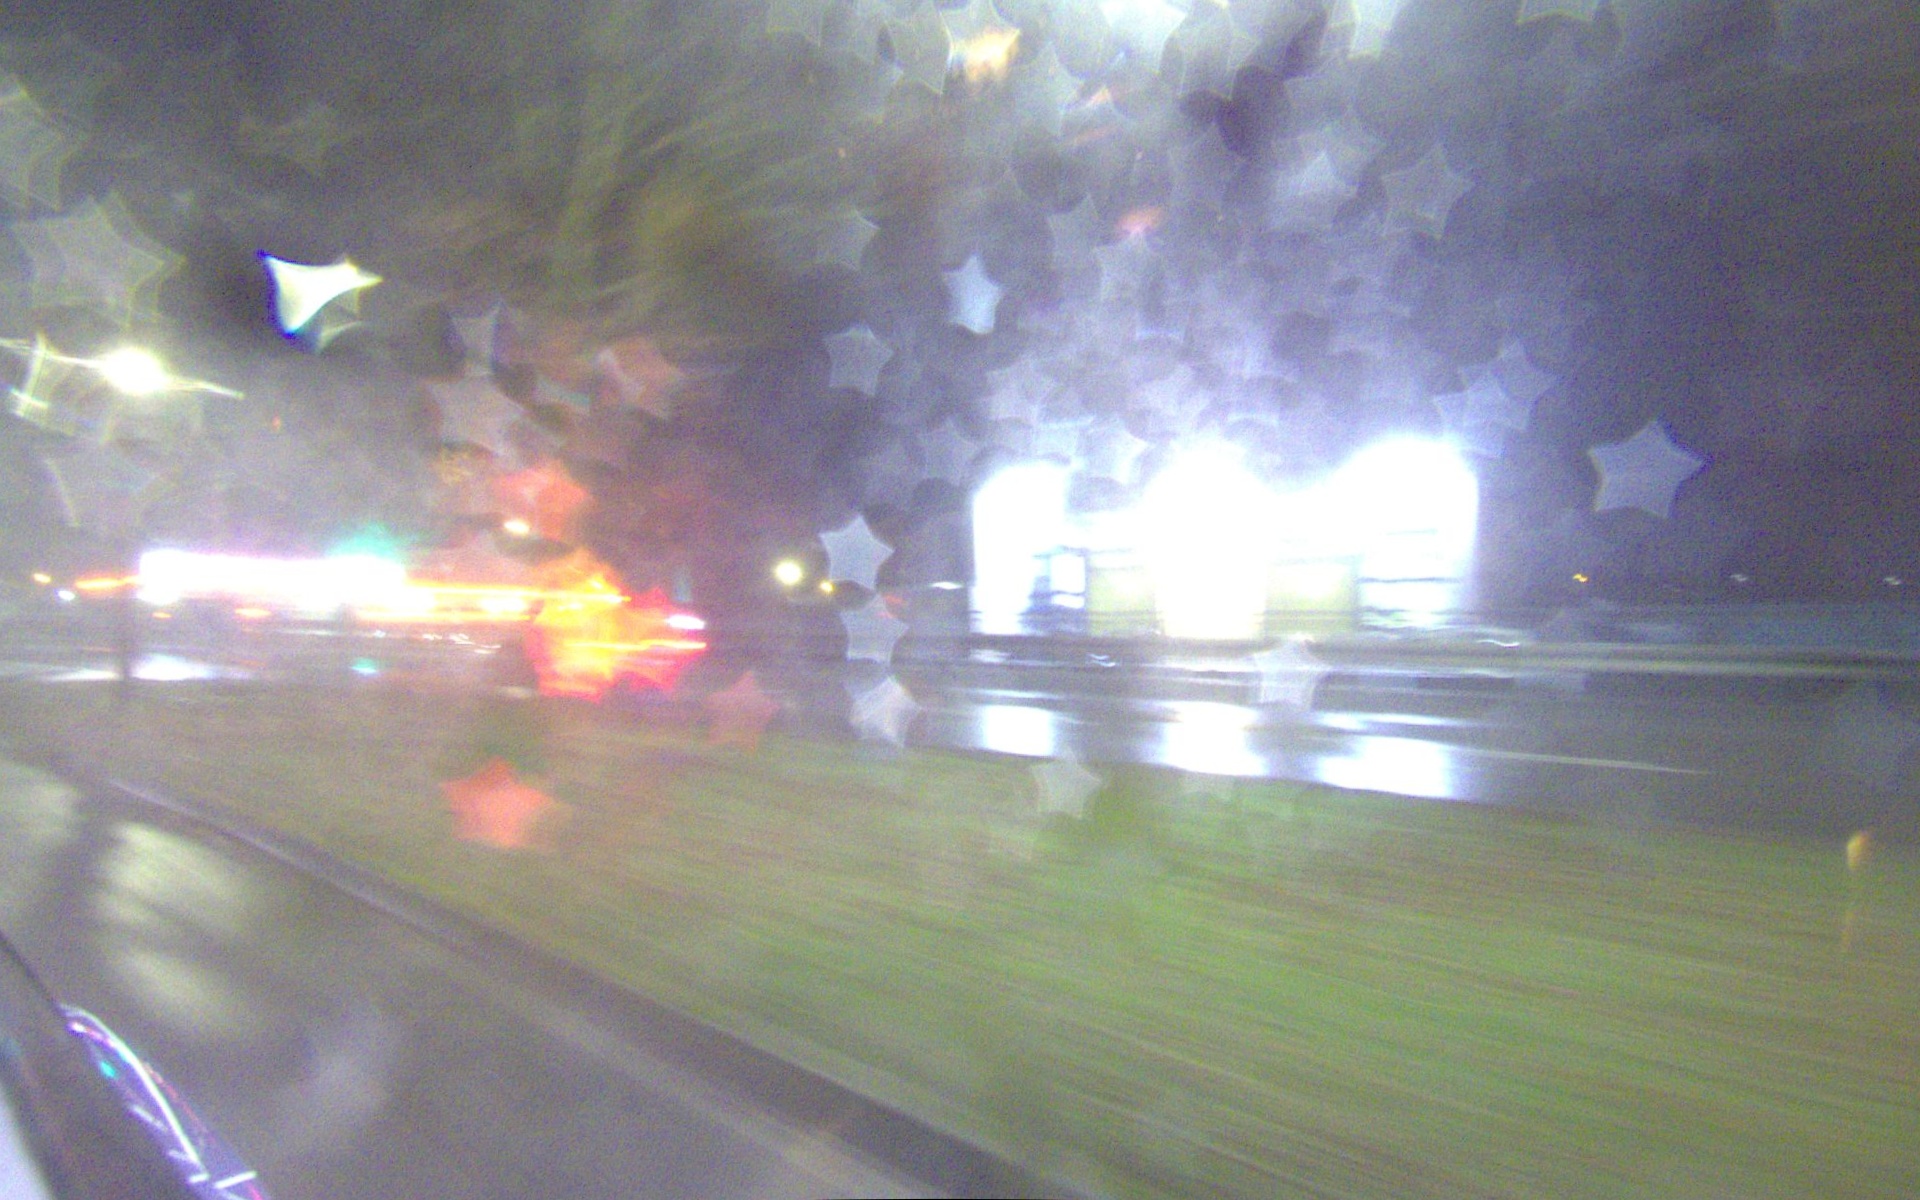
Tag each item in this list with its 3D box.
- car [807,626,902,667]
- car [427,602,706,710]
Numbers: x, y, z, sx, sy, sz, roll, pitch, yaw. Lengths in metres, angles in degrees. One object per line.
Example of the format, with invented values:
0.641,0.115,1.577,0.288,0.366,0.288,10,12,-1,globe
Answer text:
-4.630,2.099,45.145,1.795,1.736,4.379,0,-3,34,car
-6.377,0.823,16.207,4.627,1.475,1.850,0,-2,34,car
